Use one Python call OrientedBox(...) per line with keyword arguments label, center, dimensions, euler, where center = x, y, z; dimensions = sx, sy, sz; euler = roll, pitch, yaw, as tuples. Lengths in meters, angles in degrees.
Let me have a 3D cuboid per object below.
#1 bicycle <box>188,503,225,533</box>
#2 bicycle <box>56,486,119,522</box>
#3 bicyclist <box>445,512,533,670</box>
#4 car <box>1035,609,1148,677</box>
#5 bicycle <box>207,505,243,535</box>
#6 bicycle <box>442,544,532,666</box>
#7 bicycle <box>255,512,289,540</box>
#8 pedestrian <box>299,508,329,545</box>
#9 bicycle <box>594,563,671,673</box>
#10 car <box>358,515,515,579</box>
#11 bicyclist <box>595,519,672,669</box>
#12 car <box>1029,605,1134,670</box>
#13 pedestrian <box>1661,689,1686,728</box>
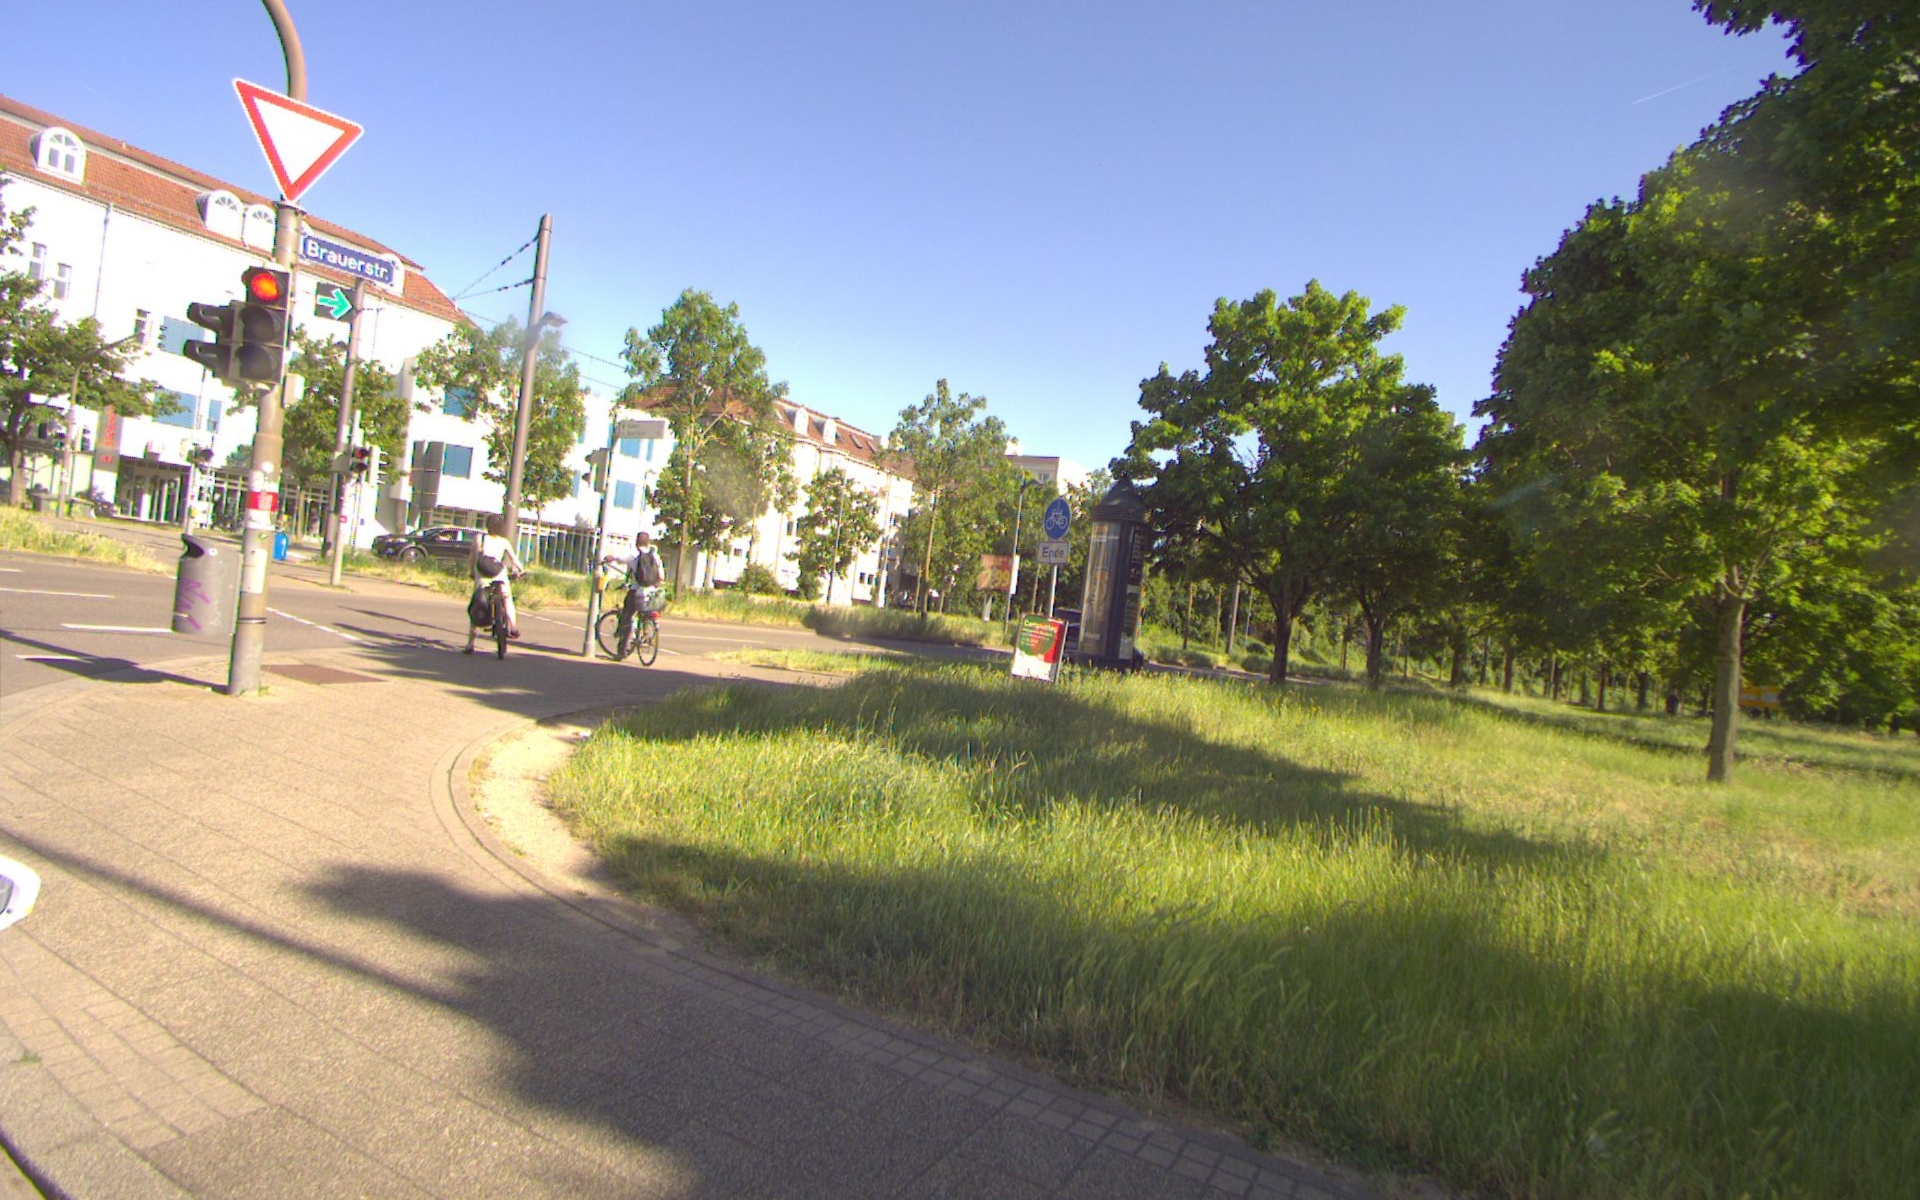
OrientedBox(label="bicycle", center=(-35.281, -3.845, 47.091), dimensions=(1.837, 1.197, 0.561), euler=(7, 1, 29))
OrientedBox(label="bicycle", center=(-36.684, -4.026, 42.328), dimensions=(0.552, 1.197, 1.868), euler=(7, 0, 26))
OrientedBox(label="bicyclist", center=(-5.998, -0.121, 12.871), dimensions=(0.782, 1.847, 1.129), euler=(6, 1, -22))
OrientedBox(label="car", center=(4.241, 1.400, 32.009), dimensions=(1.669, 1.595, 3.861), euler=(7, -3, 39))
OrientedBox(label="bicycle", center=(-35.096, -3.816, 48.026), dimensions=(1.837, 1.197, 0.561), euler=(7, 1, 29))
OrientedBox(label="bicycle", center=(-5.997, 0.022, 12.861), dimensions=(0.782, 1.364, 2.068), euler=(7, 0, -22))
OrientedBox(label="bicycle", center=(-33.819, -3.627, 49.446), dimensions=(1.839, 1.197, 0.561), euler=(7, 1, 32))
OrientedBox(label="pedestrian", center=(-33.435, -3.802, 52.057), dimensions=(0.643, 1.745, 0.991), euler=(8, 1, 29))
OrientedBox(label="bicycle", center=(-4.711, 0.205, 14.372), dimensions=(0.782, 1.364, 2.251), euler=(7, 0, -22))
OrientedBox(label="car", center=(-18.763, -1.882, 36.230), dimensions=(1.971, 1.629, 4.498), euler=(7, 0, 39))
OrientedBox(label="bicyclist", center=(-4.644, -0.094, 14.280), dimensions=(0.782, 1.984, 1.005), euler=(6, 1, -22))
OrientedBox(label="car", center=(4.683, 1.451, 38.102), dimensions=(1.738, 1.820, 4.486), euler=(7, -3, 38))
OrientedBox(label="pedestrian", center=(33.733, 5.133, 47.574), dimensions=(0.727, 1.748, 0.887), euler=(8, 1, 34))
